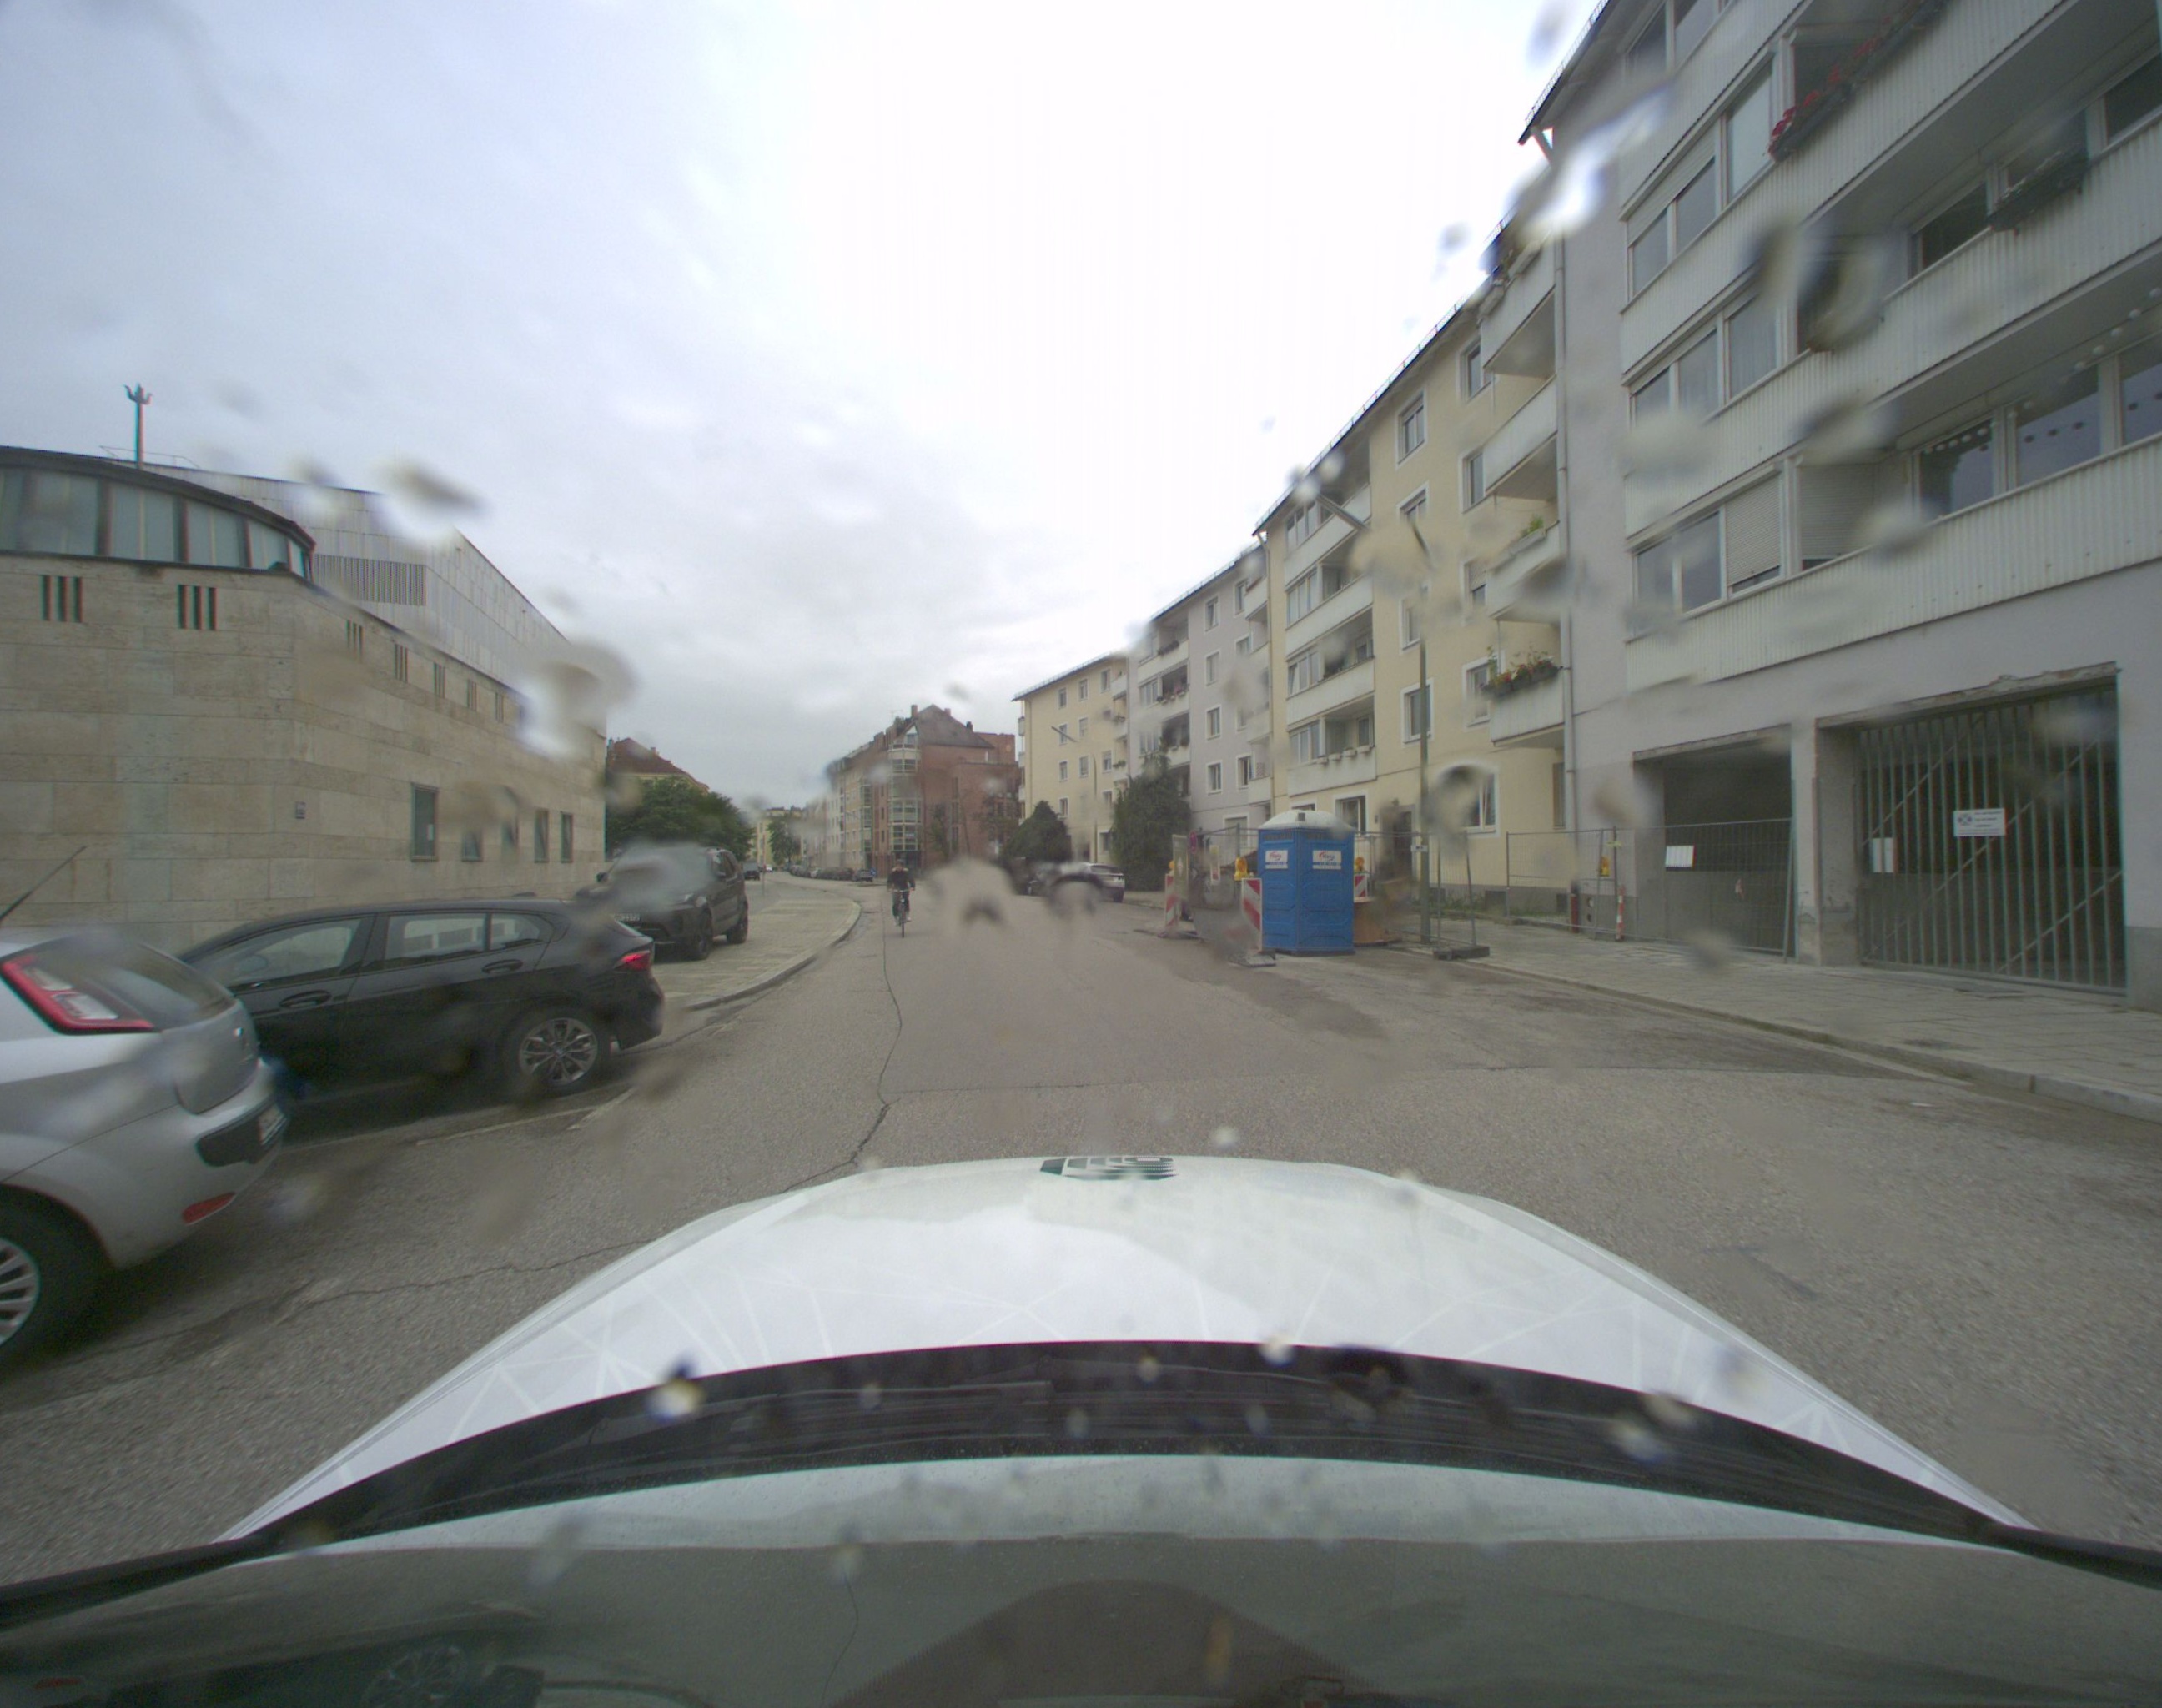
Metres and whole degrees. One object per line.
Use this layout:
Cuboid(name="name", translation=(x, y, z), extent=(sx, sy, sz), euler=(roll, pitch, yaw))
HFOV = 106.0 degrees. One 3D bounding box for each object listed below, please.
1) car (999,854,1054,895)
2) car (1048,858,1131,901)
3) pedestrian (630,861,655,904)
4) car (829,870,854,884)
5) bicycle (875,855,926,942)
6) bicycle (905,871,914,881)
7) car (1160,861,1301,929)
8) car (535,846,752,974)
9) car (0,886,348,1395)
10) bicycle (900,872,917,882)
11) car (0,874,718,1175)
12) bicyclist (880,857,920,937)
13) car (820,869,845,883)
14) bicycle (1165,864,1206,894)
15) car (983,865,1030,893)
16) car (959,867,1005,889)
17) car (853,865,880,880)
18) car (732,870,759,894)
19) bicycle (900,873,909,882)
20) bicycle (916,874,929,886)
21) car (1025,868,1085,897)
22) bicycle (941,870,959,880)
Cuboid(name="car", translation=(-3.023, 1.088, 44.201), extent=(1.753, 2.082, 4.485), euler=(2, -1, -20))
Cuboid(name="car", translation=(0.285, 1.048, 34.882), extent=(2.033, 1.678, 4.581), euler=(1, -1, -20))
Cuboid(name="pedestrian", translation=(-16.671, 1.081, 30.968), extent=(0.599, 1.601, 0.648), euler=(0, -1, 44))
Cuboid(name="car", translation=(-28.208, 2.713, 95.949), extent=(1.841, 1.602, 4.225), euler=(2, -1, -30))
Cuboid(name="bicycle", translation=(-4.017, 0.925, 18.381), extent=(0.794, 1.722, 3.107), euler=(-3, 1, -8))
Cuboid(name="bicycle", translation=(-20.190, 2.579, 95.832), extent=(0.489, 1.060, 1.977), euler=(2, -2, -29))
Cuboid(name="car", translation=(3.476, 0.915, 19.892), extent=(1.831, 1.442, 4.611), euler=(1, -1, -11))
Cuboid(name="car", translation=(-7.160, 0.797, 13.956), extent=(1.995, 1.772, 4.794), euler=(0, 0, -12))
Cuboid(name="car", translation=(-4.982, 0.891, 2.396), extent=(4.000, 1.530, 1.657), euler=(2, -1, -36))
Cuboid(name="bicycle", translation=(-19.892, 2.687, 94.101), extent=(1.855, 1.147, 0.484), euler=(1, -1, -21))
Cuboid(name="car", translation=(-4.962, 0.941, 5.771), extent=(4.027, 1.373, 1.729), euler=(-2, -1, -39))
Cuboid(name="bicyclist", translation=(-4.056, 0.934, 18.297), extent=(0.747, 1.717, 1.029), euler=(-1, 0, -8))
Cuboid(name="car", translation=(-30.565, 2.676, 100.061), extent=(1.976, 1.602, 4.626), euler=(2, -1, -30))
Cuboid(name="bicycle", translation=(4.940, 1.169, 38.565), extent=(0.745, 1.367, 2.453), euler=(-4, 0, -22))
Cuboid(name="car", translation=(-4.494, 1.497, 48.688), extent=(1.664, 1.566, 4.483), euler=(1, -2, -20))
Cuboid(name="car", translation=(-6.593, 1.609, 53.713), extent=(1.763, 1.396, 4.009), euler=(2, -3, -26))
Cuboid(name="car", translation=(-22.913, 1.998, 86.762), extent=(1.935, 1.512, 4.353), euler=(2, -2, -27))
Cuboid(name="car", translation=(-41.286, 3.421, 100.172), extent=(2.436, 2.715, 5.898), euler=(-1, -1, -28))
Cuboid(name="bicycle", translation=(-20.719, 2.793, 95.523), extent=(0.489, 1.060, 1.977), euler=(2, -2, -29))
Cuboid(name="bicycle", translation=(-17.181, 2.835, 88.300), extent=(0.537, 1.248, 2.388), euler=(2, -3, -33))
Cuboid(name="car", translation=(-1.340, 1.403, 39.863), extent=(1.666, 1.349, 3.774), euler=(2, -2, -23))
Cuboid(name="bicycle", translation=(-13.217, 2.106, 81.931), extent=(1.709, 0.966, 0.541), euler=(2, -1, -27))
